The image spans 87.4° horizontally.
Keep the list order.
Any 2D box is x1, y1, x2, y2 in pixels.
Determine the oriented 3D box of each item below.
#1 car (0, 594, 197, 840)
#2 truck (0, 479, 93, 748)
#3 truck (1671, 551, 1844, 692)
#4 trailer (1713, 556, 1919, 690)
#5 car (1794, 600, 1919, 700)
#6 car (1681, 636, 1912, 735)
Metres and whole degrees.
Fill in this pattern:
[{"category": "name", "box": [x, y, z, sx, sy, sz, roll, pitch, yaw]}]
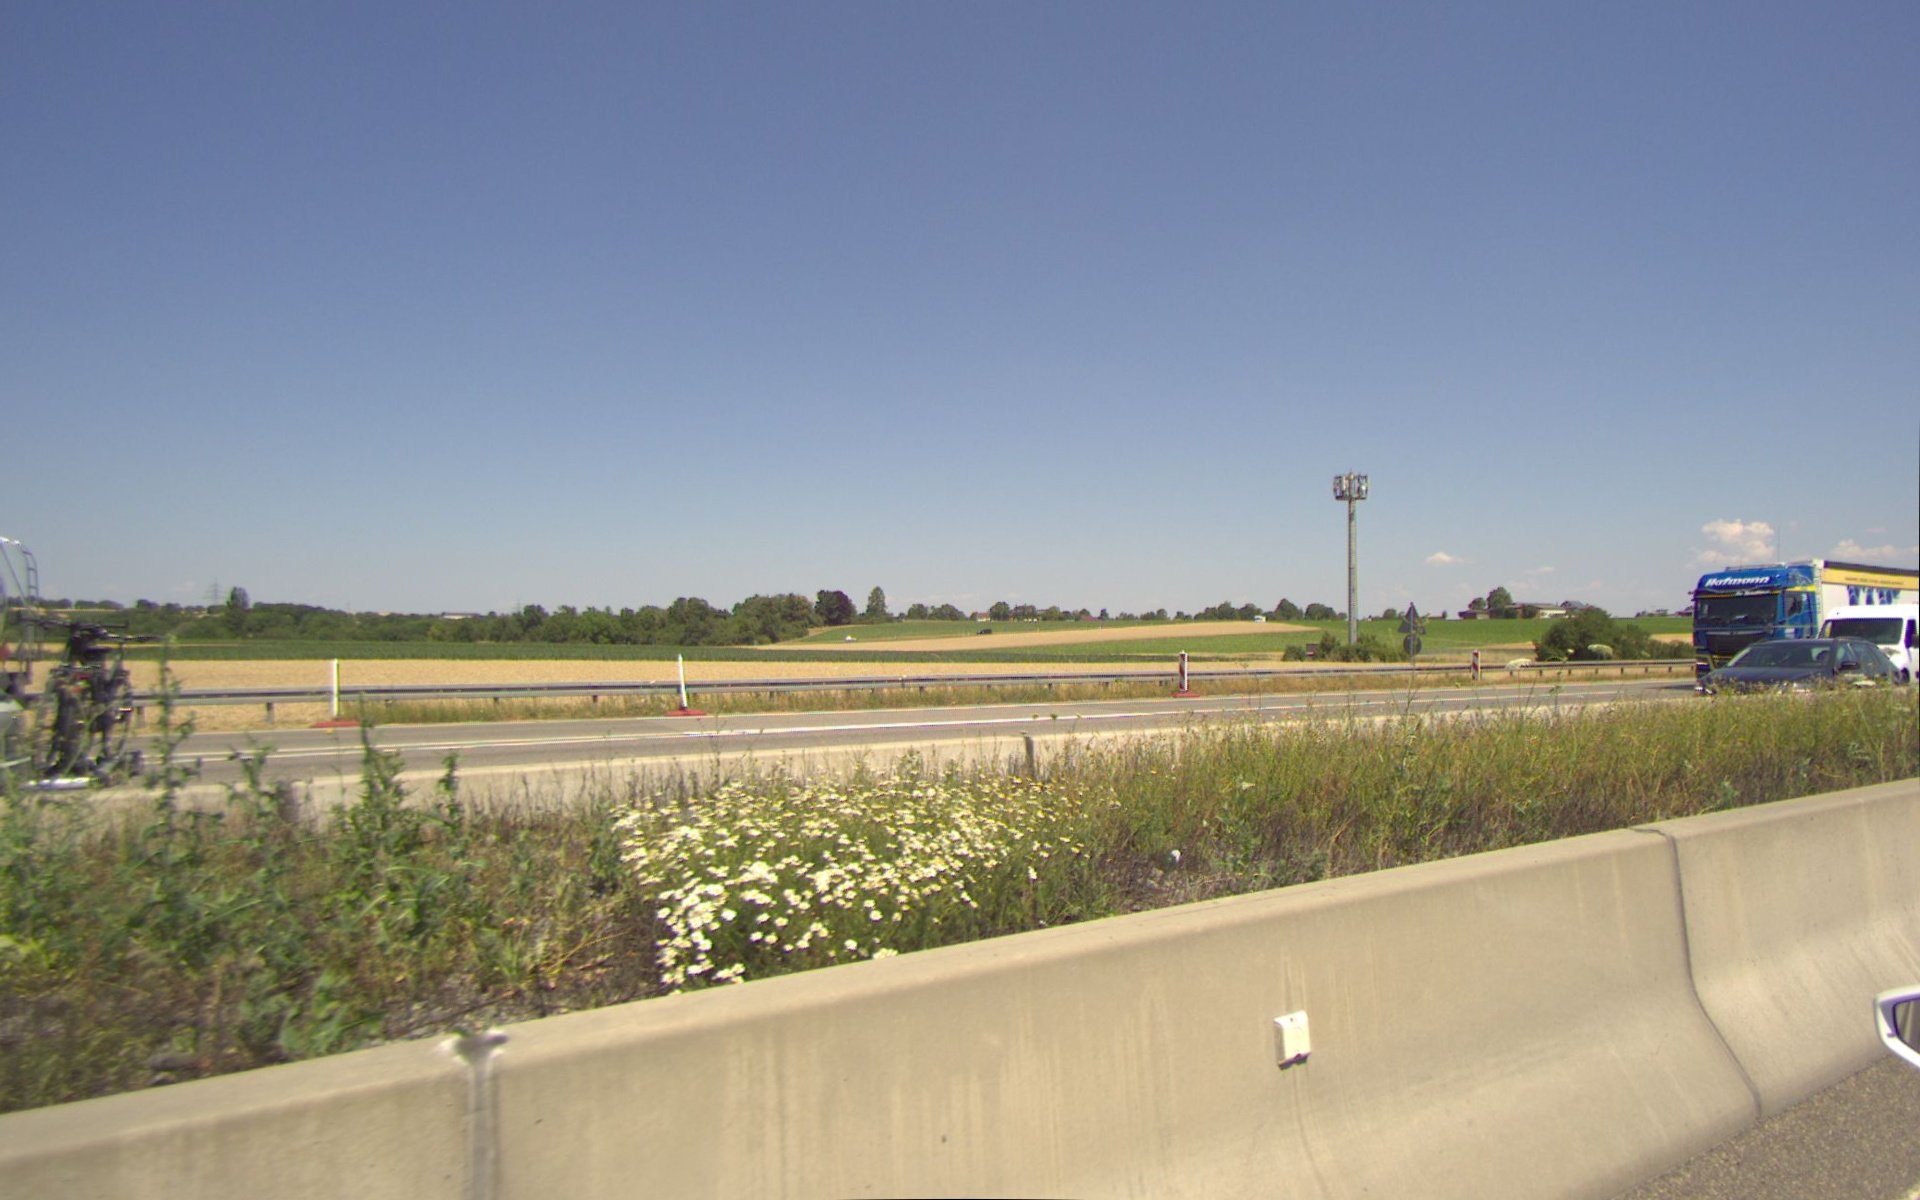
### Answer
[{"category": "car", "box": [-8.819, 0.835, 6.920, 5.460, 1.732, 1.876, 1, -3, -32]}, {"category": "truck", "box": [-20.160, 0.196, 13.021, 13.096, 3.825, 2.894, 1, -4, -23]}, {"category": "truck", "box": [25.609, 0.710, 32.267, 4.785, 4.182, 2.796, 1, -2, -31]}, {"category": "trailer", "box": [32.008, 0.864, 36.089, 13.966, 4.182, 2.796, 1, -2, -31]}, {"category": "car", "box": [25.581, 1.345, 27.803, 5.744, 2.534, 2.037, 1, -2, -31]}, {"category": "car", "box": [14.131, 1.346, 16.903, 4.480, 1.488, 1.590, 1, -2, -31]}]
